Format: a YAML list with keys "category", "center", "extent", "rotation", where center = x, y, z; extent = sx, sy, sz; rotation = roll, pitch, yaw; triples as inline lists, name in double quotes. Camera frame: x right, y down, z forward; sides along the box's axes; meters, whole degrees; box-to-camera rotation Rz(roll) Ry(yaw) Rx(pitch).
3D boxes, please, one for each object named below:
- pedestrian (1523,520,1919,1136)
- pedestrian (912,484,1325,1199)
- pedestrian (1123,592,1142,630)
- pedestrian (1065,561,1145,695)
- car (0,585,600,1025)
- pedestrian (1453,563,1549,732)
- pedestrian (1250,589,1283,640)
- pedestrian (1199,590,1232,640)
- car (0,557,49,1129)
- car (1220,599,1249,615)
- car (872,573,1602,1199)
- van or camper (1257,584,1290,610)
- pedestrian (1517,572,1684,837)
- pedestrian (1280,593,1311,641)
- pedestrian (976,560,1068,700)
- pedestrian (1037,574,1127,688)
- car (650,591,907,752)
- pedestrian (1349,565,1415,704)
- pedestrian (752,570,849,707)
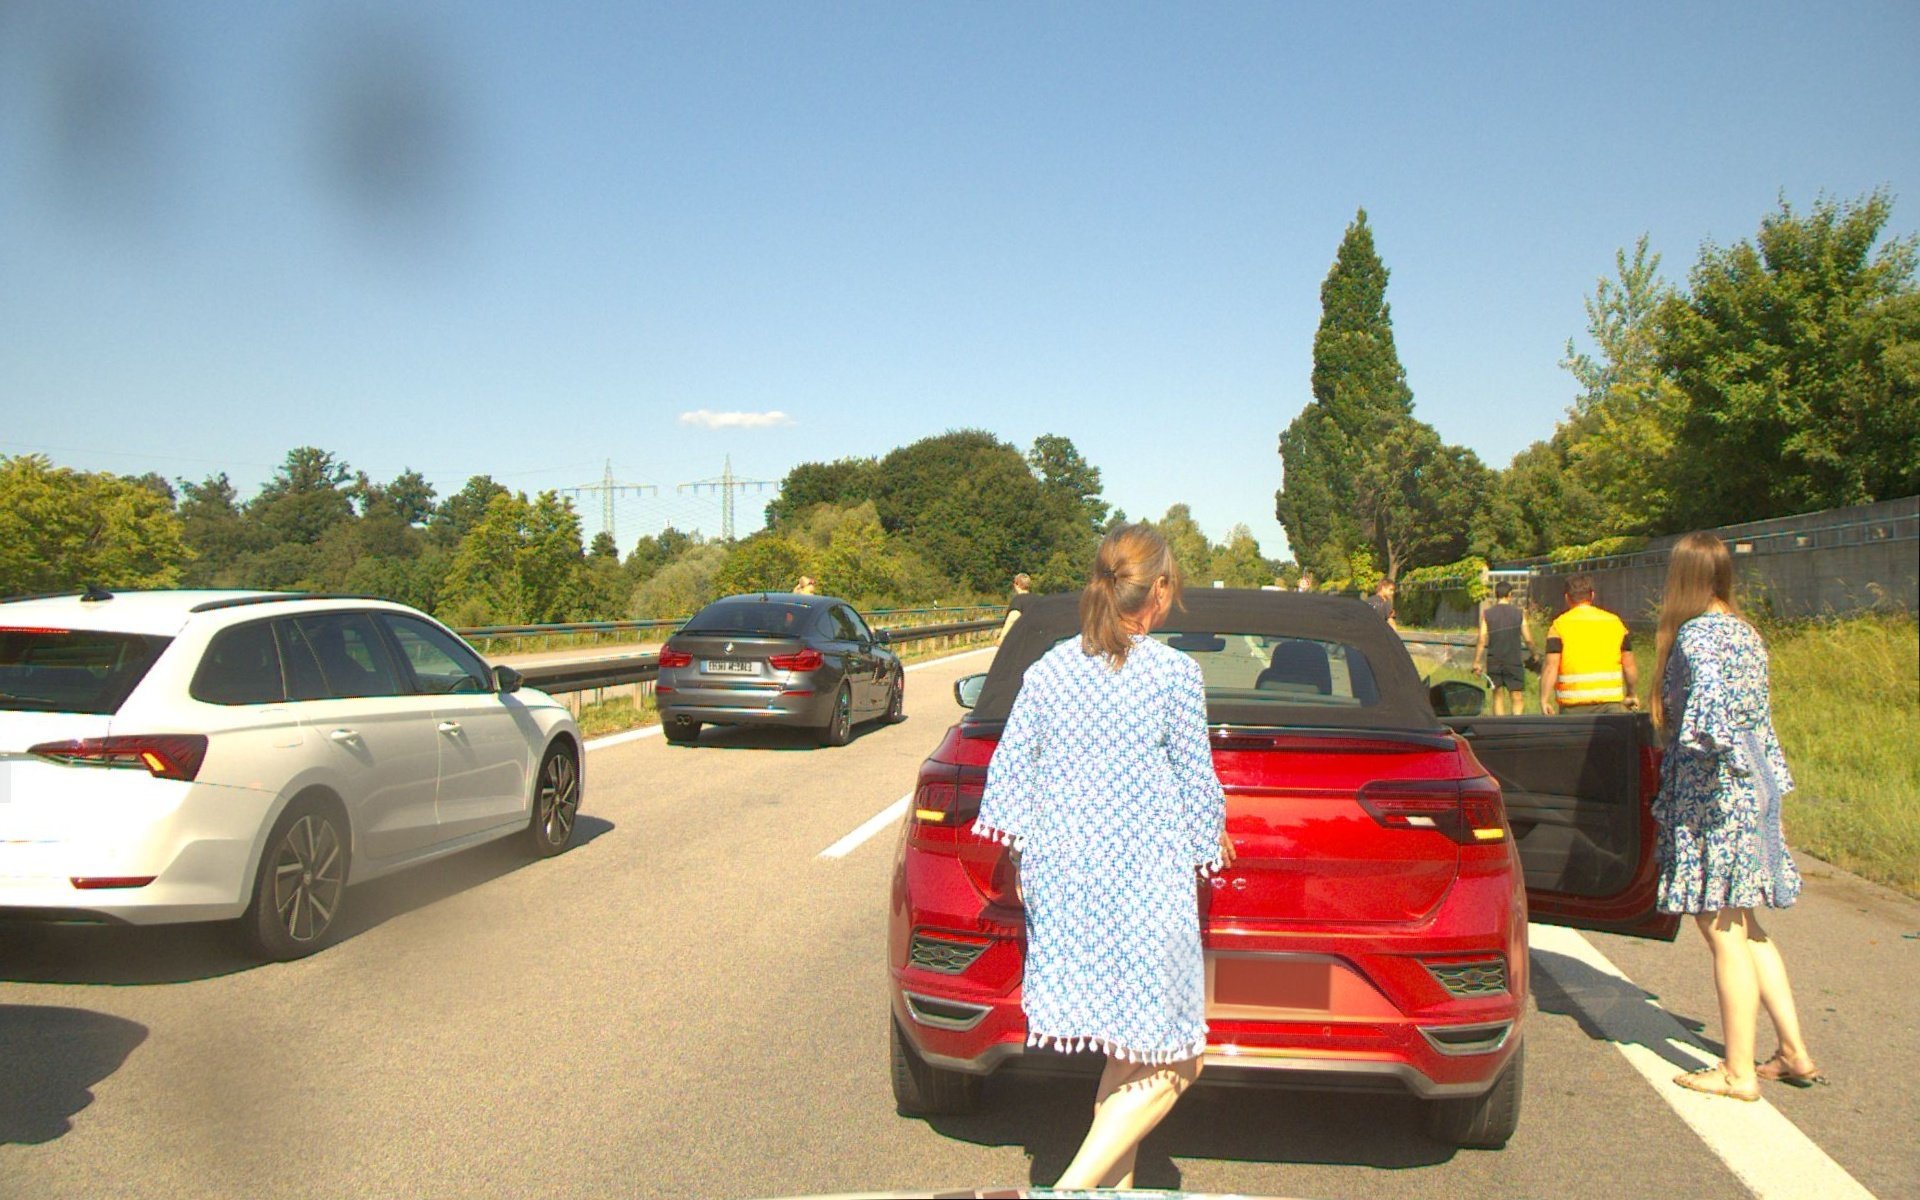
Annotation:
- category: "pedestrian"
  center: [2.428, 0.640, 5.091]
  extent: [1.101, 1.725, 0.893]
  rotation: [-1, 0, 3]
- category: "pedestrian"
  center: [0.362, 0.628, 3.704]
  extent: [0.821, 1.712, 0.744]
  rotation: [0, 0, 7]
- category: "pedestrian"
  center: [7.845, 0.501, 75.228]
  extent: [0.774, 1.719, 0.793]
  rotation: [1, 0, 13]
- category: "pedestrian"
  center: [2.153, 0.412, 24.762]
  extent: [1.083, 1.946, 1.257]
  rotation: [-1, 0, 0]
- category: "car"
  center: [-3.245, 0.680, 7.774]
  extent: [1.658, 1.467, 4.214]
  rotation: [1, 0, 8]
- category: "pedestrian"
  center: [5.812, 0.497, 17.814]
  extent: [0.875, 1.755, 0.755]
  rotation: [1, 0, 12]
- category: "pedestrian"
  center: [10.659, 0.500, 57.525]
  extent: [1.033, 1.719, 1.018]
  rotation: [1, 0, 15]
- category: "pedestrian"
  center: [8.961, 0.511, 57.898]
  extent: [1.090, 1.719, 0.974]
  rotation: [1, 0, 10]
- category: "car"
  center: [-3.400, 0.660, 2.370]
  extent: [1.751, 1.519, 4.492]
  rotation: [0, 0, -1]
- category: "car"
  center: [26.195, 0.676, 157.480]
  extent: [1.698, 1.513, 4.208]
  rotation: [1, 0, 24]
- category: "car"
  center: [0.925, 0.700, 6.028]
  extent: [1.695, 1.513, 4.214]
  rotation: [1, 0, 8]
- category: "van or camper"
  center: [29.503, -0.287, 155.519]
  extent: [1.954, 2.356, 4.467]
  rotation: [1, 0, 25]
- category: "pedestrian"
  center: [4.319, 0.663, 11.253]
  extent: [0.937, 1.682, 1.279]
  rotation: [-1, 0, 16]
- category: "pedestrian"
  center: [12.223, 0.616, 60.244]
  extent: [0.975, 1.719, 1.011]
  rotation: [1, 0, 16]
- category: "pedestrian"
  center: [0.886, 0.410, 23.308]
  extent: [1.043, 1.916, 1.094]
  rotation: [0, 0, 17]
- category: "pedestrian"
  center: [1.997, 0.503, 27.147]
  extent: [1.073, 1.820, 1.100]
  rotation: [1, 0, -23]
- category: "car"
  center: [-1.760, 0.655, 17.464]
  extent: [1.658, 1.451, 4.337]
  rotation: [1, 0, 8]
- category: "pedestrian"
  center: [5.596, 0.453, 21.908]
  extent: [0.794, 1.790, 0.828]
  rotation: [1, 0, 17]
- category: "pedestrian"
  center: [-2.149, 0.513, 22.367]
  extent: [1.018, 1.794, 1.119]
  rotation: [-1, 0, 11]
